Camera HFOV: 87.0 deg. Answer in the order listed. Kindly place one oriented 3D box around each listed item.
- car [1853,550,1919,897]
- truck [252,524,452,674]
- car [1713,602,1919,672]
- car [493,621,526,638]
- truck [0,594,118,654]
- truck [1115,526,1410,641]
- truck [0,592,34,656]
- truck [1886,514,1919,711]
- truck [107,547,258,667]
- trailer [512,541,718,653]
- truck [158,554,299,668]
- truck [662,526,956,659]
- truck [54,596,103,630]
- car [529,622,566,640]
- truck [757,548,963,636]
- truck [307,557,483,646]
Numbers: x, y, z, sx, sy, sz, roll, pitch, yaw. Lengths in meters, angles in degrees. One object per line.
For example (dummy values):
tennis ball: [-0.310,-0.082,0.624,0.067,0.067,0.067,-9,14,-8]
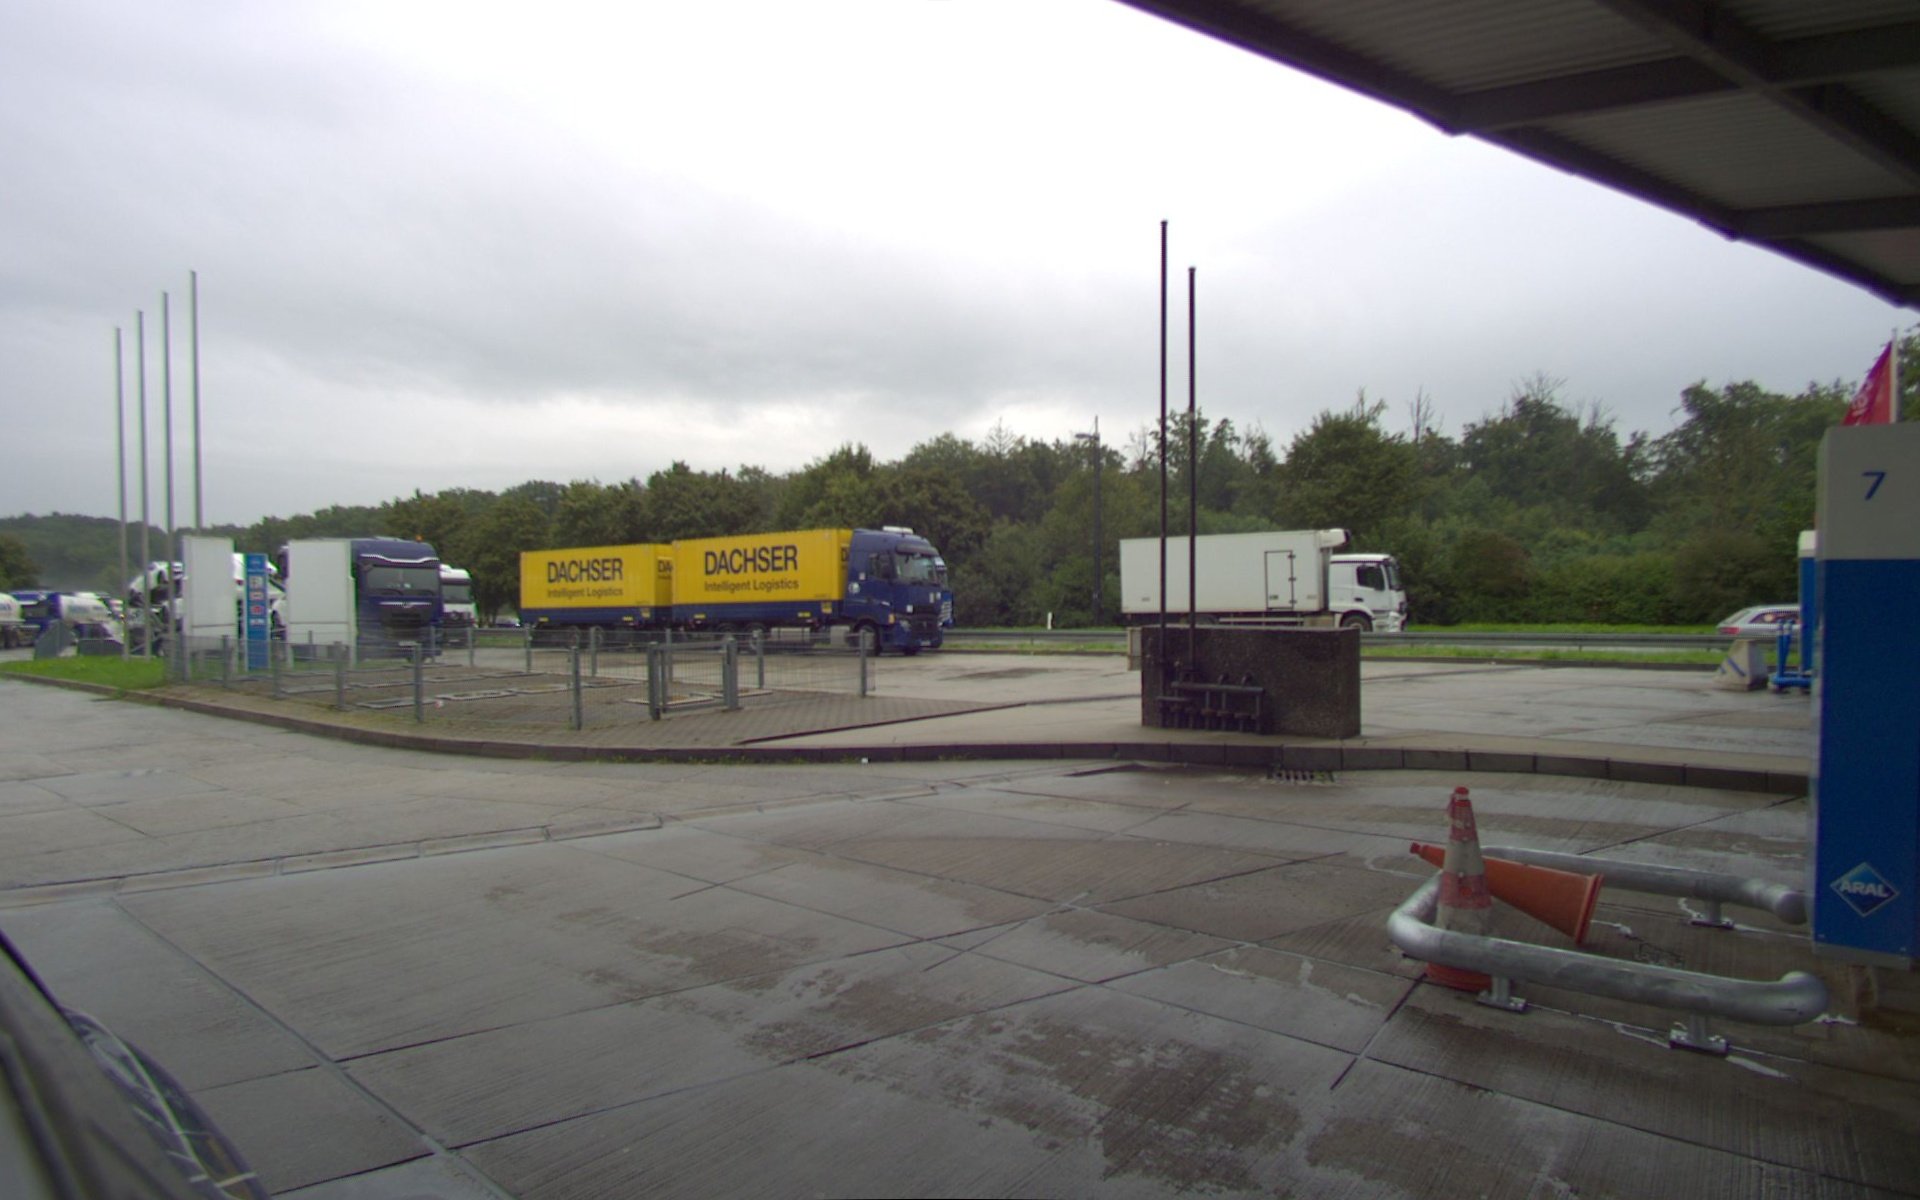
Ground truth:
car: [6.908,0.544,3.806,5.269,1.620,1.842,-1,0,41]
truck: [-19.009,0.014,31.486,7.089,4.213,2.635,-1,0,35]
car: [21.508,0.874,25.385,3.985,1.641,1.759,0,0,31]
car: [-50.649,3.272,113.767,3.995,1.837,1.866,-1,0,39]
truck: [-61.492,1.626,68.668,3.454,3.633,14.709,-1,-1,-27]
truck: [10.970,-0.510,37.455,10.195,3.836,2.395,-1,0,31]
truck: [-55.155,1.341,53.700,3.454,3.633,14.444,-1,-1,-19]
truck: [14.991,0.129,11.960,5.859,2.513,2.208,-1,0,41]
truck: [-29.589,0.302,38.456,6.605,4.213,2.635,-1,0,35]
trailer: [-13.499,-0.068,39.266,8.679,3.946,2.728,-1,0,32]
truck: [-26.107,0.398,36.082,4.738,3.800,2.635,-1,0,34]
truck: [-5.337,-0.173,34.036,10.654,3.946,2.727,-1,0,33]
truck: [-136.182,1.995,156.309,11.498,5.160,3.109,-1,0,36]
car: [-42.432,3.167,104.090,3.998,1.837,1.865,-1,0,41]
truck: [-4.878,-0.307,47.651,10.195,3.836,2.395,-1,0,31]
truck: [-27.318,0.109,48.637,10.654,3.946,2.727,-1,0,33]
